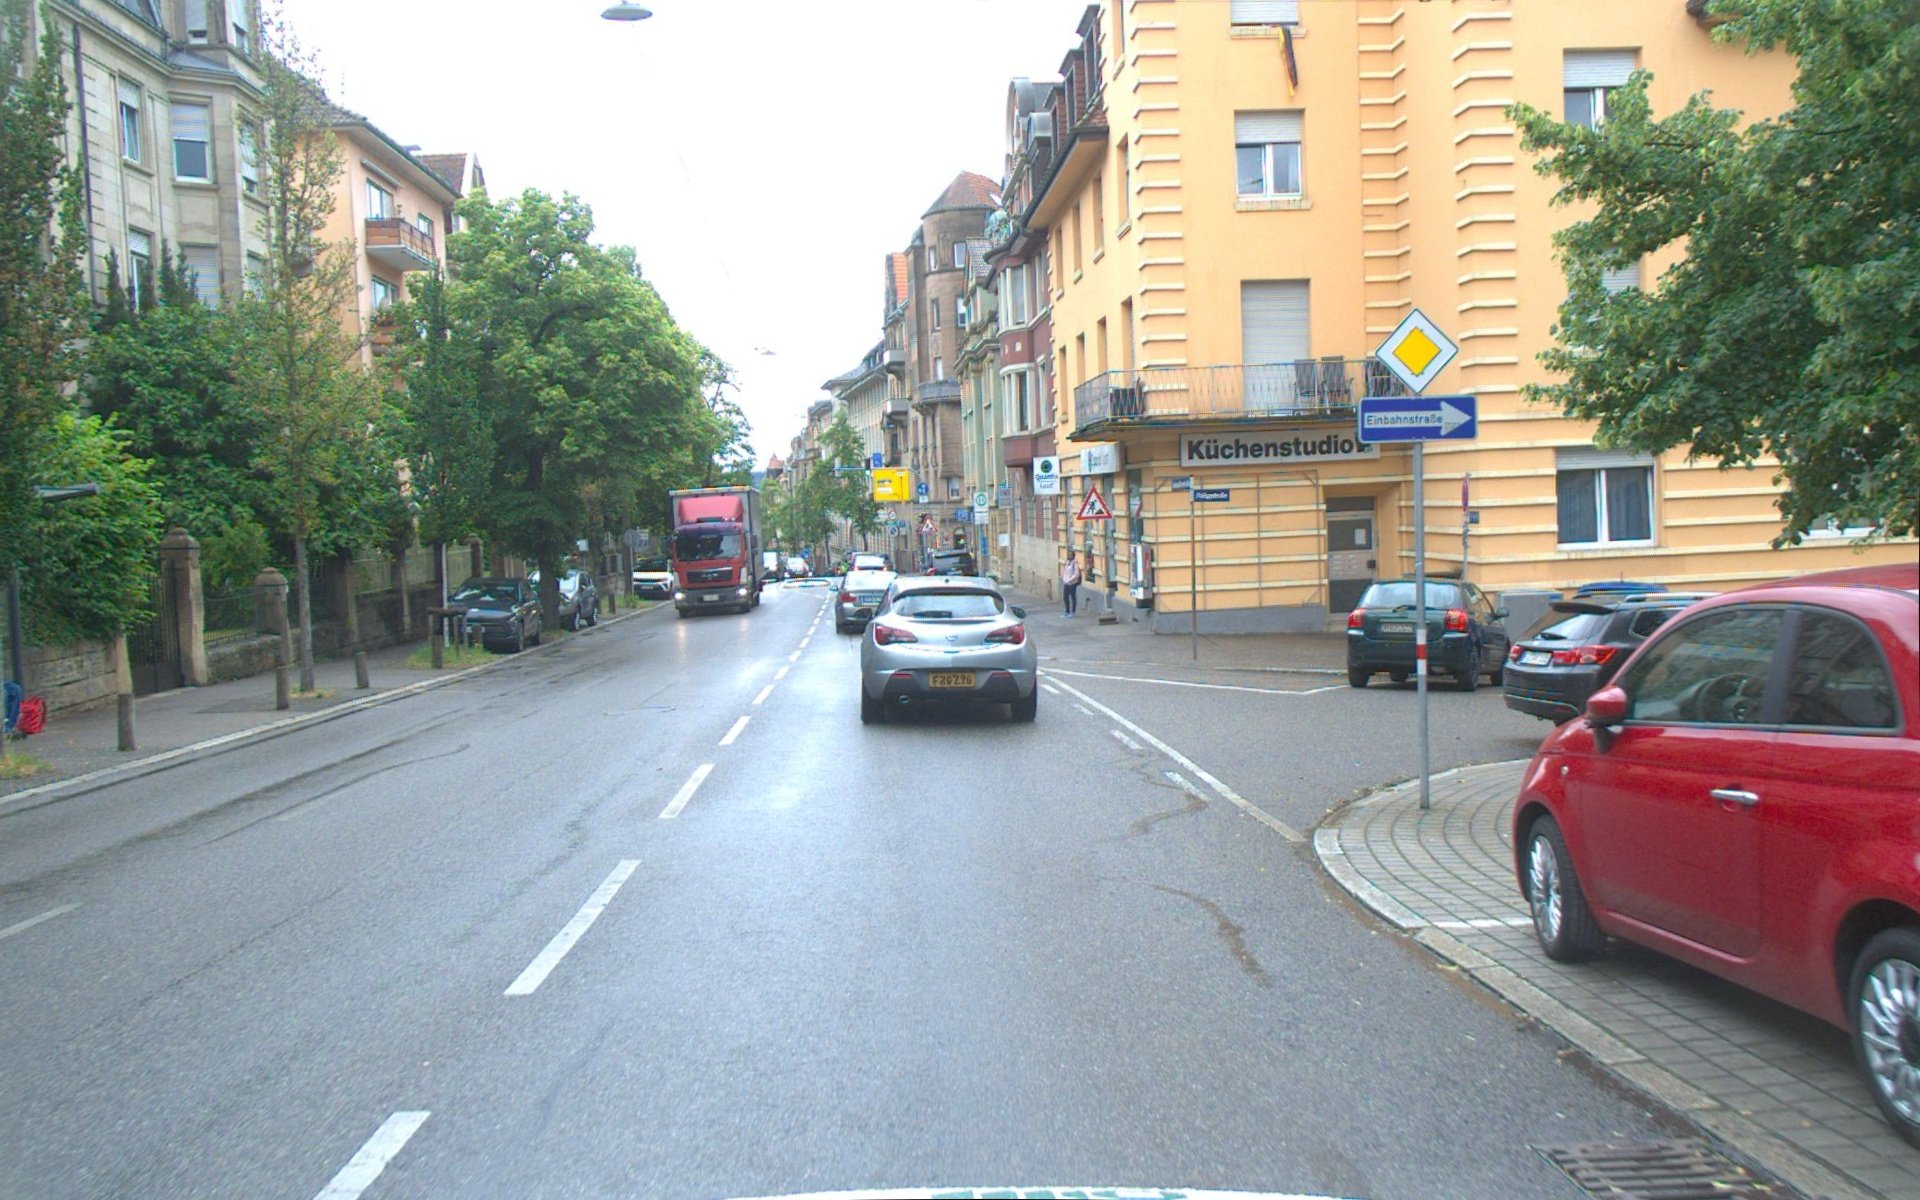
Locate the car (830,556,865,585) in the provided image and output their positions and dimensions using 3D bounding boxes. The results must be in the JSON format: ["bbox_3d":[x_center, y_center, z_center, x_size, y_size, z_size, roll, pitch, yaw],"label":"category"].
[{"bbox_3d":[-7.000,-1.818,102.772,1.627,1.569,3.656,-5,1,-10],"label":"car"}]

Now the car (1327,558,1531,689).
[{"bbox_3d":[6.605,0.276,22.984,1.814,1.494,4.105,-3,2,29],"label":"car"}]

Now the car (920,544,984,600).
[{"bbox_3d":[-0.314,-0.978,57.249,1.840,1.657,4.695,-6,1,-3],"label":"car"}]

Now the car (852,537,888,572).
[{"bbox_3d":[-4.421,-2.234,81.603,1.624,1.569,3.664,-5,1,-2],"label":"car"}]

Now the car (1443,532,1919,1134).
[{"bbox_3d":[3.186,0.562,5.746,1.578,1.527,3.956,-4,1,-3],"label":"car"}]

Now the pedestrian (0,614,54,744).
[{"bbox_3d":[-11.155,0.922,19.263,0.751,1.457,0.649,-3,1,-1],"label":"pedestrian"}]

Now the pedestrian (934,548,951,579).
[{"bbox_3d":[-0.937,-1.972,88.645,0.584,1.611,0.666,-4,3,15],"label":"pedestrian"}]

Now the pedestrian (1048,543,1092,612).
[{"bbox_3d":[2.664,-0.544,40.181,0.756,1.617,0.707,-4,1,-22],"label":"pedestrian"}]

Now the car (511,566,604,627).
[{"bbox_3d":[-11.146,-0.141,46.089,1.707,1.586,4.300,-1,1,-3],"label":"car"}]

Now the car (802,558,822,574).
[{"bbox_3d":[-14.821,-3.400,165.484,1.608,1.454,3.368,-4,1,-10],"label":"car"}]

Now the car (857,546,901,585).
[{"bbox_3d":[-3.373,-1.435,68.756,1.737,1.530,3.867,-2,1,-3],"label":"car"}]

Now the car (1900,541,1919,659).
[{"bbox_3d":[14.973,0.048,23.901,1.667,1.754,4.542,0,3,20],"label":"car"}]

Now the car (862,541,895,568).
[{"bbox_3d":[-5.541,-3.078,111.997,1.627,1.569,3.656,-5,1,-10],"label":"car"}]

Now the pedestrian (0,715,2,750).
[{"bbox_3d":[-11.041,0.965,17.968,0.751,1.457,0.759,-3,1,-3],"label":"pedestrian"}]

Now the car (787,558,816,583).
[{"bbox_3d":[-10.595,-1.980,110.314,1.781,1.543,4.542,-2,2,-7],"label":"car"}]

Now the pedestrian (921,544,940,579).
[{"bbox_3d":[-1.598,-2.079,88.834,0.703,1.804,0.666,-4,3,16],"label":"pedestrian"}]

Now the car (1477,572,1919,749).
[{"bbox_3d":[7.390,0.516,15.870,4.188,1.524,1.999,0,2,-9],"label":"car"}]

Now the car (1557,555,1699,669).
[{"bbox_3d":[9.774,0.177,24.072,1.669,1.518,3.633,0,0,26],"label":"car"}]

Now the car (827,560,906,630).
[{"bbox_3d":[-2.198,-0.153,39.001,1.737,1.530,3.867,-2,1,-3],"label":"car"}]

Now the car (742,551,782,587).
[{"bbox_3d":[-10.280,-1.654,86.107,1.737,1.543,4.588,-3,4,-4],"label":"car"}]

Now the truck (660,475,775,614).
[{"bbox_3d":[-7.714,-1.787,53.759,2.596,3.920,9.302,-5,2,-3],"label":"truck"}]

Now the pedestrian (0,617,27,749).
[{"bbox_3d":[-11.107,0.948,18.616,0.751,1.457,0.649,-3,1,-1],"label":"pedestrian"}]

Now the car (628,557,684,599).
[{"bbox_3d":[-12.347,-0.913,67.388,1.707,1.586,4.300,-1,1,-3],"label":"car"}]

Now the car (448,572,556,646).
[{"bbox_3d":[-10.461,0.167,38.022,1.708,1.586,4.297,0,1,-6],"label":"car"}]

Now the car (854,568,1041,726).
[{"bbox_3d":[-0.196,0.418,18.011,1.775,1.474,3.868,-2,1,-2],"label":"car"}]
